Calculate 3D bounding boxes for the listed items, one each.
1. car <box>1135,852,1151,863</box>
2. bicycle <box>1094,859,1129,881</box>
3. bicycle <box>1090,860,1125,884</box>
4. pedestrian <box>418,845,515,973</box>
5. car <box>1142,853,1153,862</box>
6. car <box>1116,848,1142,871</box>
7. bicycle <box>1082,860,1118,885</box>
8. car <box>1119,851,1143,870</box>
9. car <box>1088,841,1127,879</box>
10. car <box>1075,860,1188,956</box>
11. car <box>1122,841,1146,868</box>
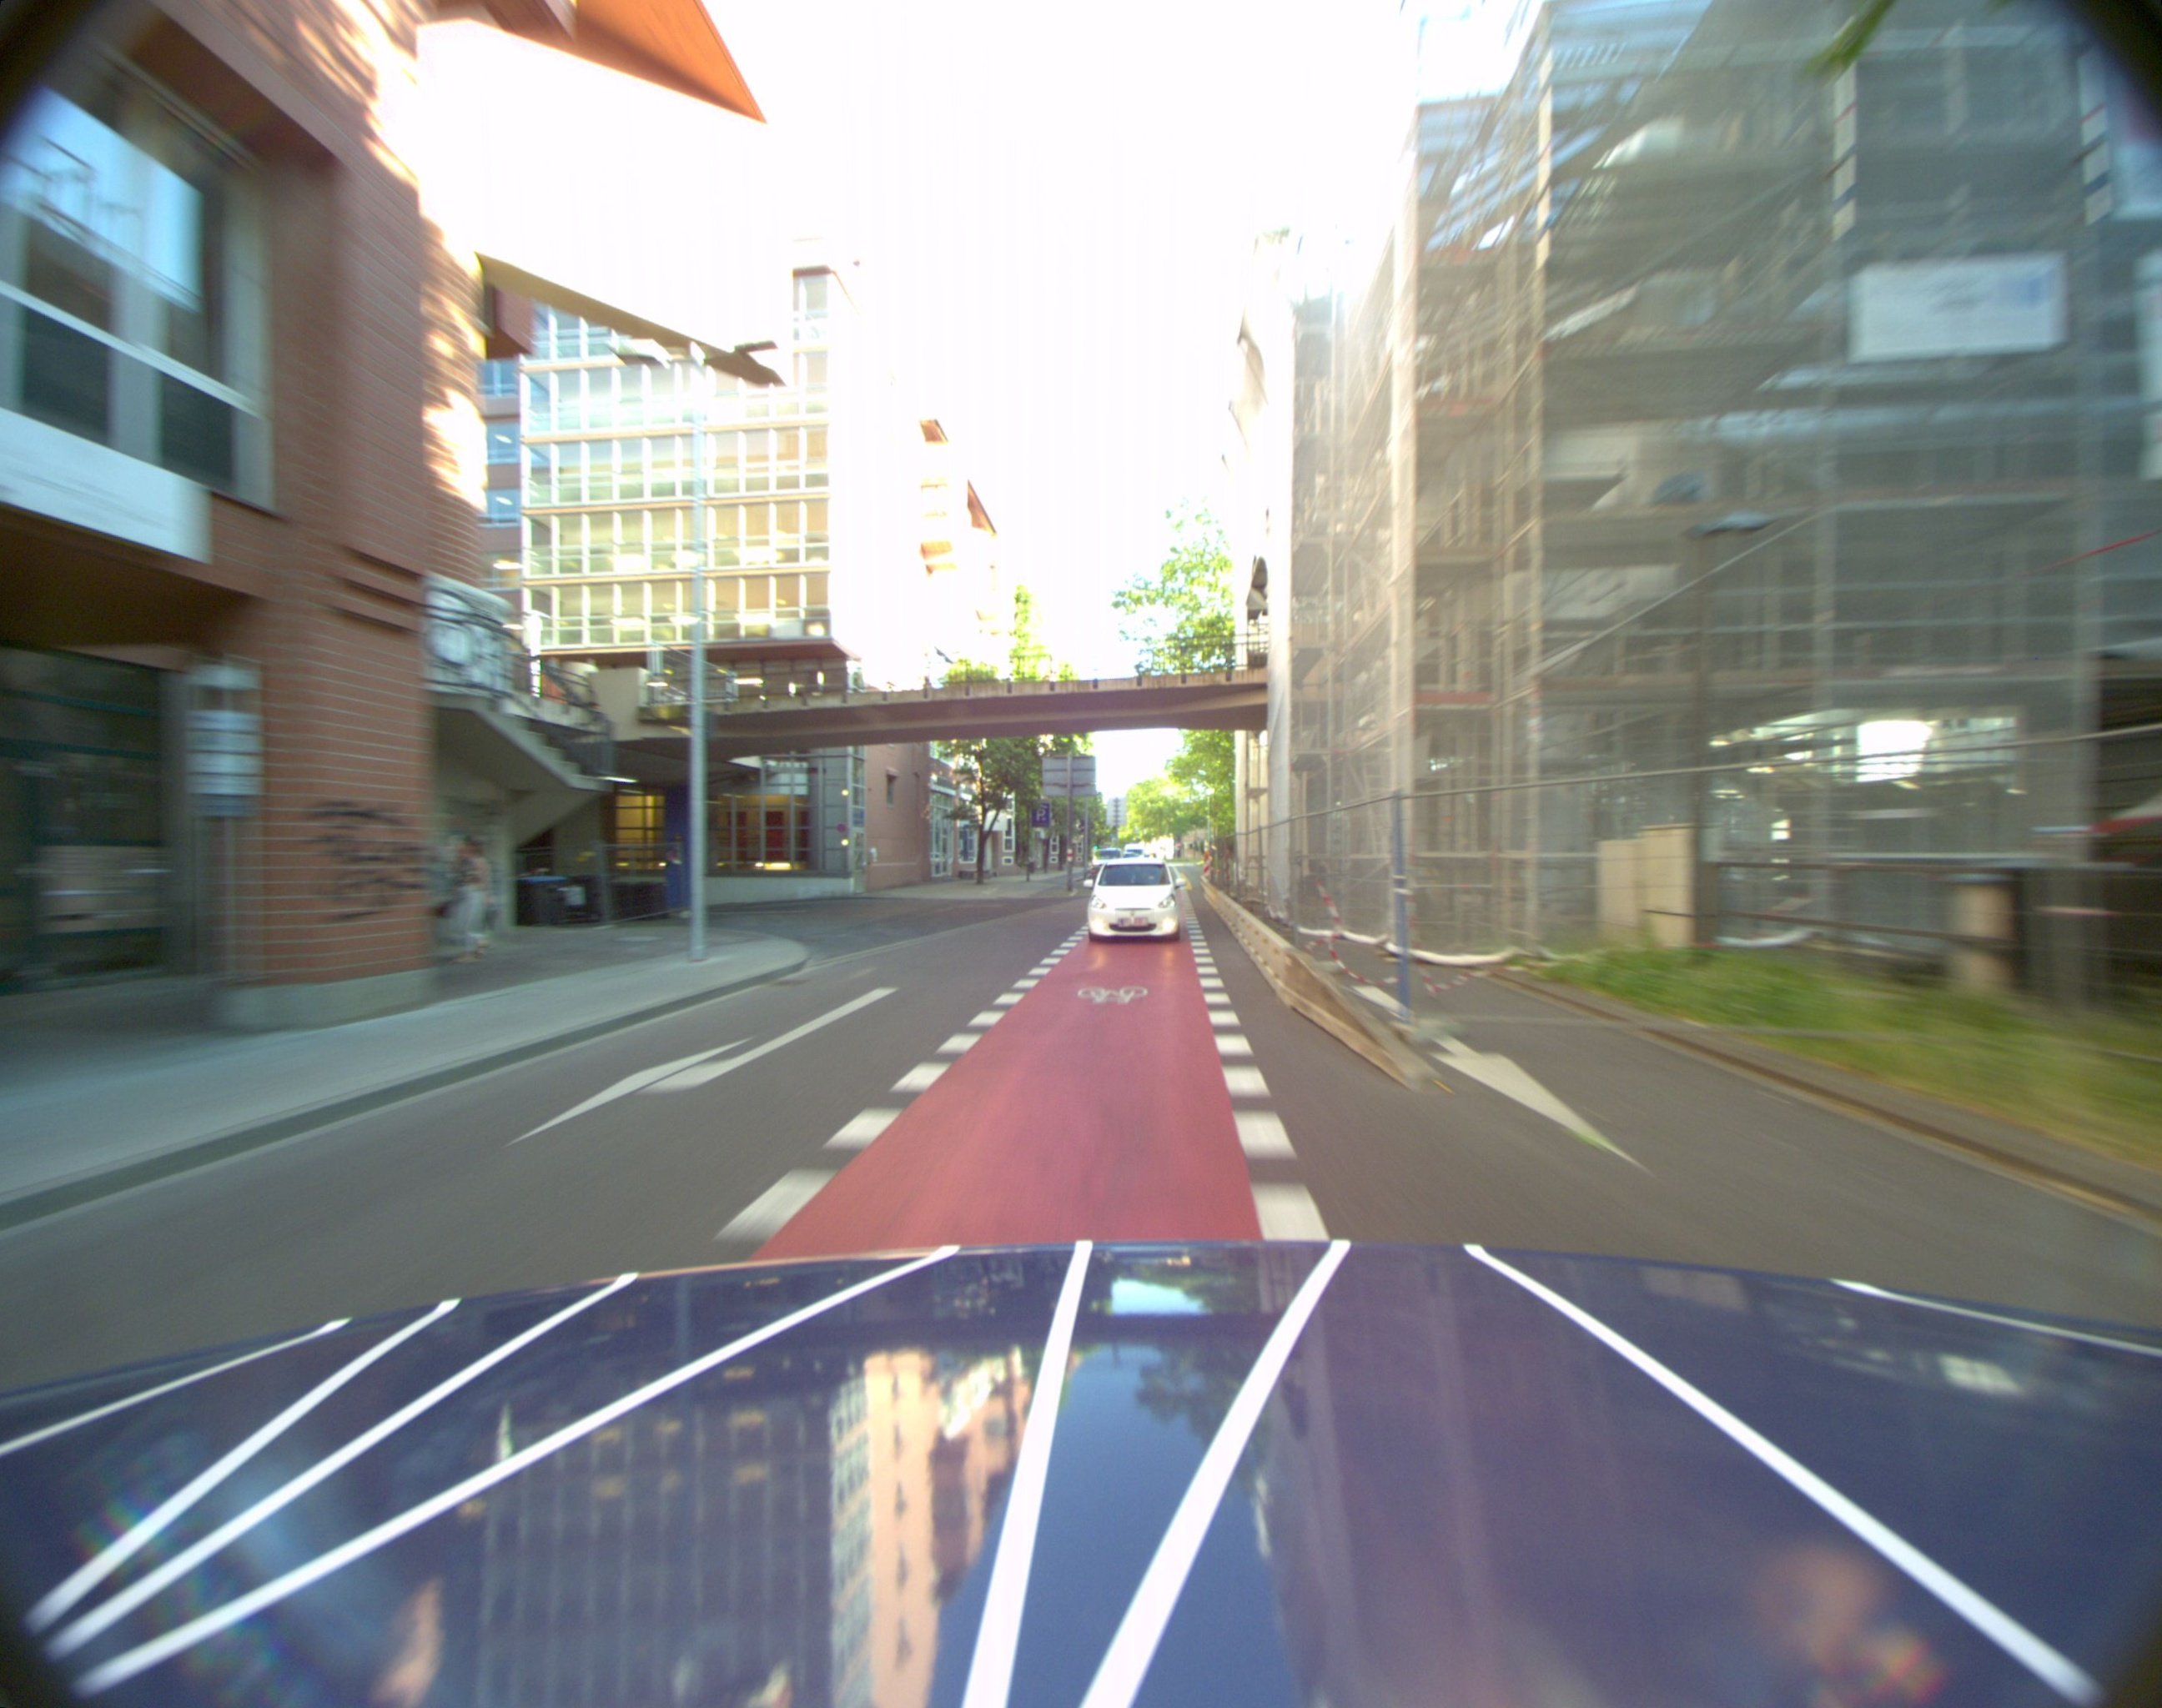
[{"bbox_3d":[7.534,0.369,92.006,1.808,1.323,3.992,0,0,3],"label":"car"},{"bbox_3d":[1.488,0.793,37.438,1.678,1.061,0.512,-1,1,29],"label":"bicycle"},{"bbox_3d":[1.213,0.815,35.216,1.678,1.061,0.502,0,1,41],"label":"bicycle"},{"bbox_3d":[-8.079,0.702,10.015,0.570,1.624,0.778,-1,1,5],"label":"pedestrian"},{"bbox_3d":[12.511,0.644,143.636,1.998,1.524,4.001,-2,1,6],"label":"car"},{"bbox_3d":[3.662,0.390,57.506,1.791,1.660,4.442,0,0,6],"label":"car"},{"bbox_3d":[0.859,0.826,34.318,1.678,1.061,0.502,0,1,41],"label":"bicycle"},{"bbox_3d":[4.159,0.502,62.723,1.832,1.570,4.002,0,0,6],"label":"car"},{"bbox_3d":[1.627,0.325,44.586,1.922,2.066,5.172,0,0,6],"label":"car"},{"bbox_3d":[0.927,0.887,14.291,1.808,1.492,4.201,0,0,3],"label":"car"},{"bbox_3d":[5.197,0.022,73.856,2.119,2.550,5.908,0,0,7],"label":"car"}]
